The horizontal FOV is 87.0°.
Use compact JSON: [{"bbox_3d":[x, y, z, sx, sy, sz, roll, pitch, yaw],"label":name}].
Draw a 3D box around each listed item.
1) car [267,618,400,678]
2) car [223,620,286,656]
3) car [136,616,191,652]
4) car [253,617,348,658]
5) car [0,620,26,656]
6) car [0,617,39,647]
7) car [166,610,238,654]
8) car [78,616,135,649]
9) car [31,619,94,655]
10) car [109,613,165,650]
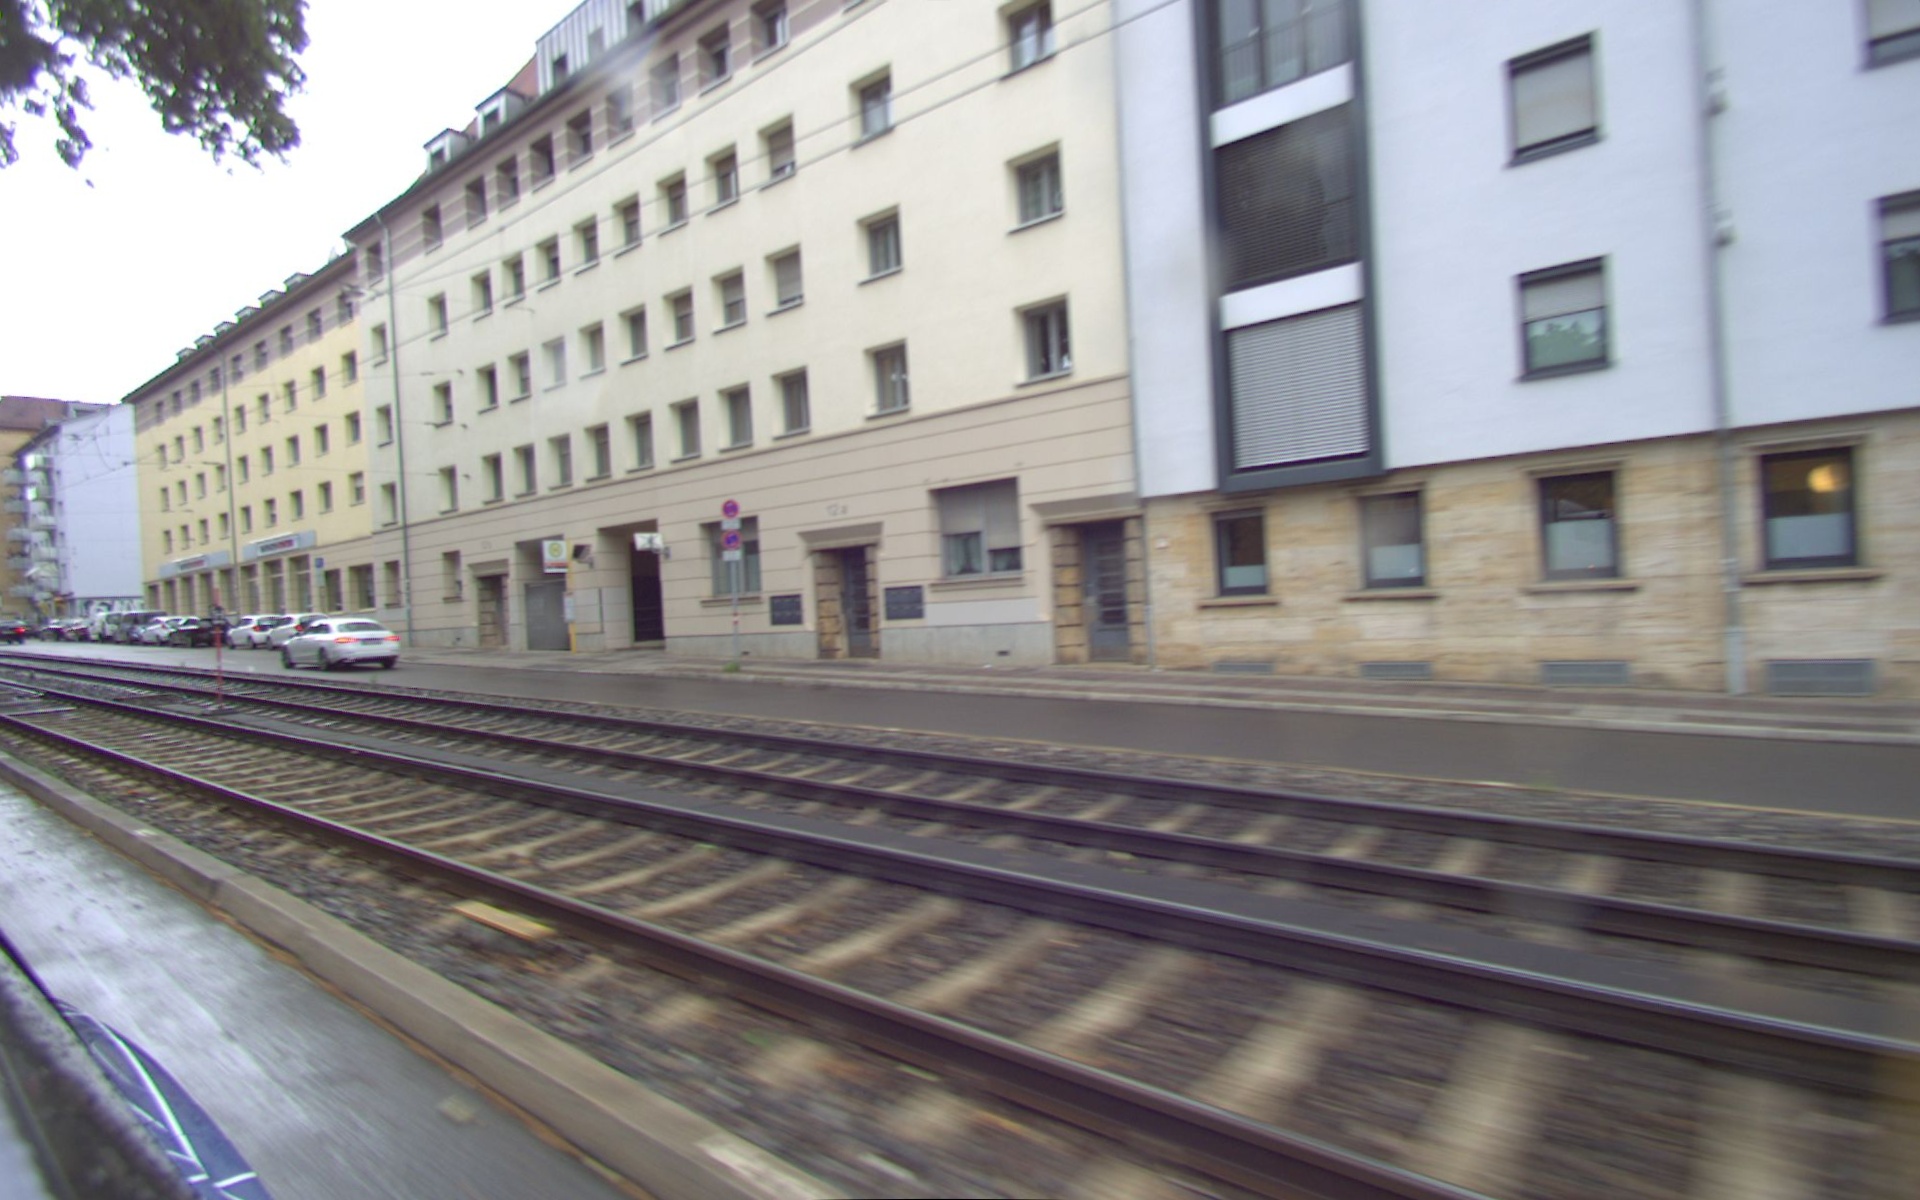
[{"bbox_3d":[-18.146,1.348,29.212,5.011,1.548,1.670,-2,-1,39],"label":"car"},{"bbox_3d":[-30.982,1.637,44.438,3.184,1.495,1.311,-1,0,36],"label":"car"},{"bbox_3d":[-40.985,1.707,52.038,3.399,1.766,1.361,-1,0,36],"label":"car"},{"bbox_3d":[-27.389,1.529,41.983,3.992,1.554,2.007,-1,0,36],"label":"car"},{"bbox_3d":[-57.703,2.264,60.724,3.996,2.029,1.925,-1,0,39],"label":"car"},{"bbox_3d":[-68.971,2.304,73.683,4.219,2.029,2.007,-1,0,36],"label":"car"},{"bbox_3d":[-36.534,1.505,48.724,4.293,1.975,1.708,-1,0,38],"label":"car"},{"bbox_3d":[-49.592,1.874,58.808,3.585,1.822,1.707,-1,0,36],"label":"car"},{"bbox_3d":[-54.472,2.214,61.411,4.219,2.029,2.007,-1,0,36],"label":"car"},{"bbox_3d":[-44.646,1.682,54.886,4.036,1.897,1.538,-1,0,39],"label":"car"}]
